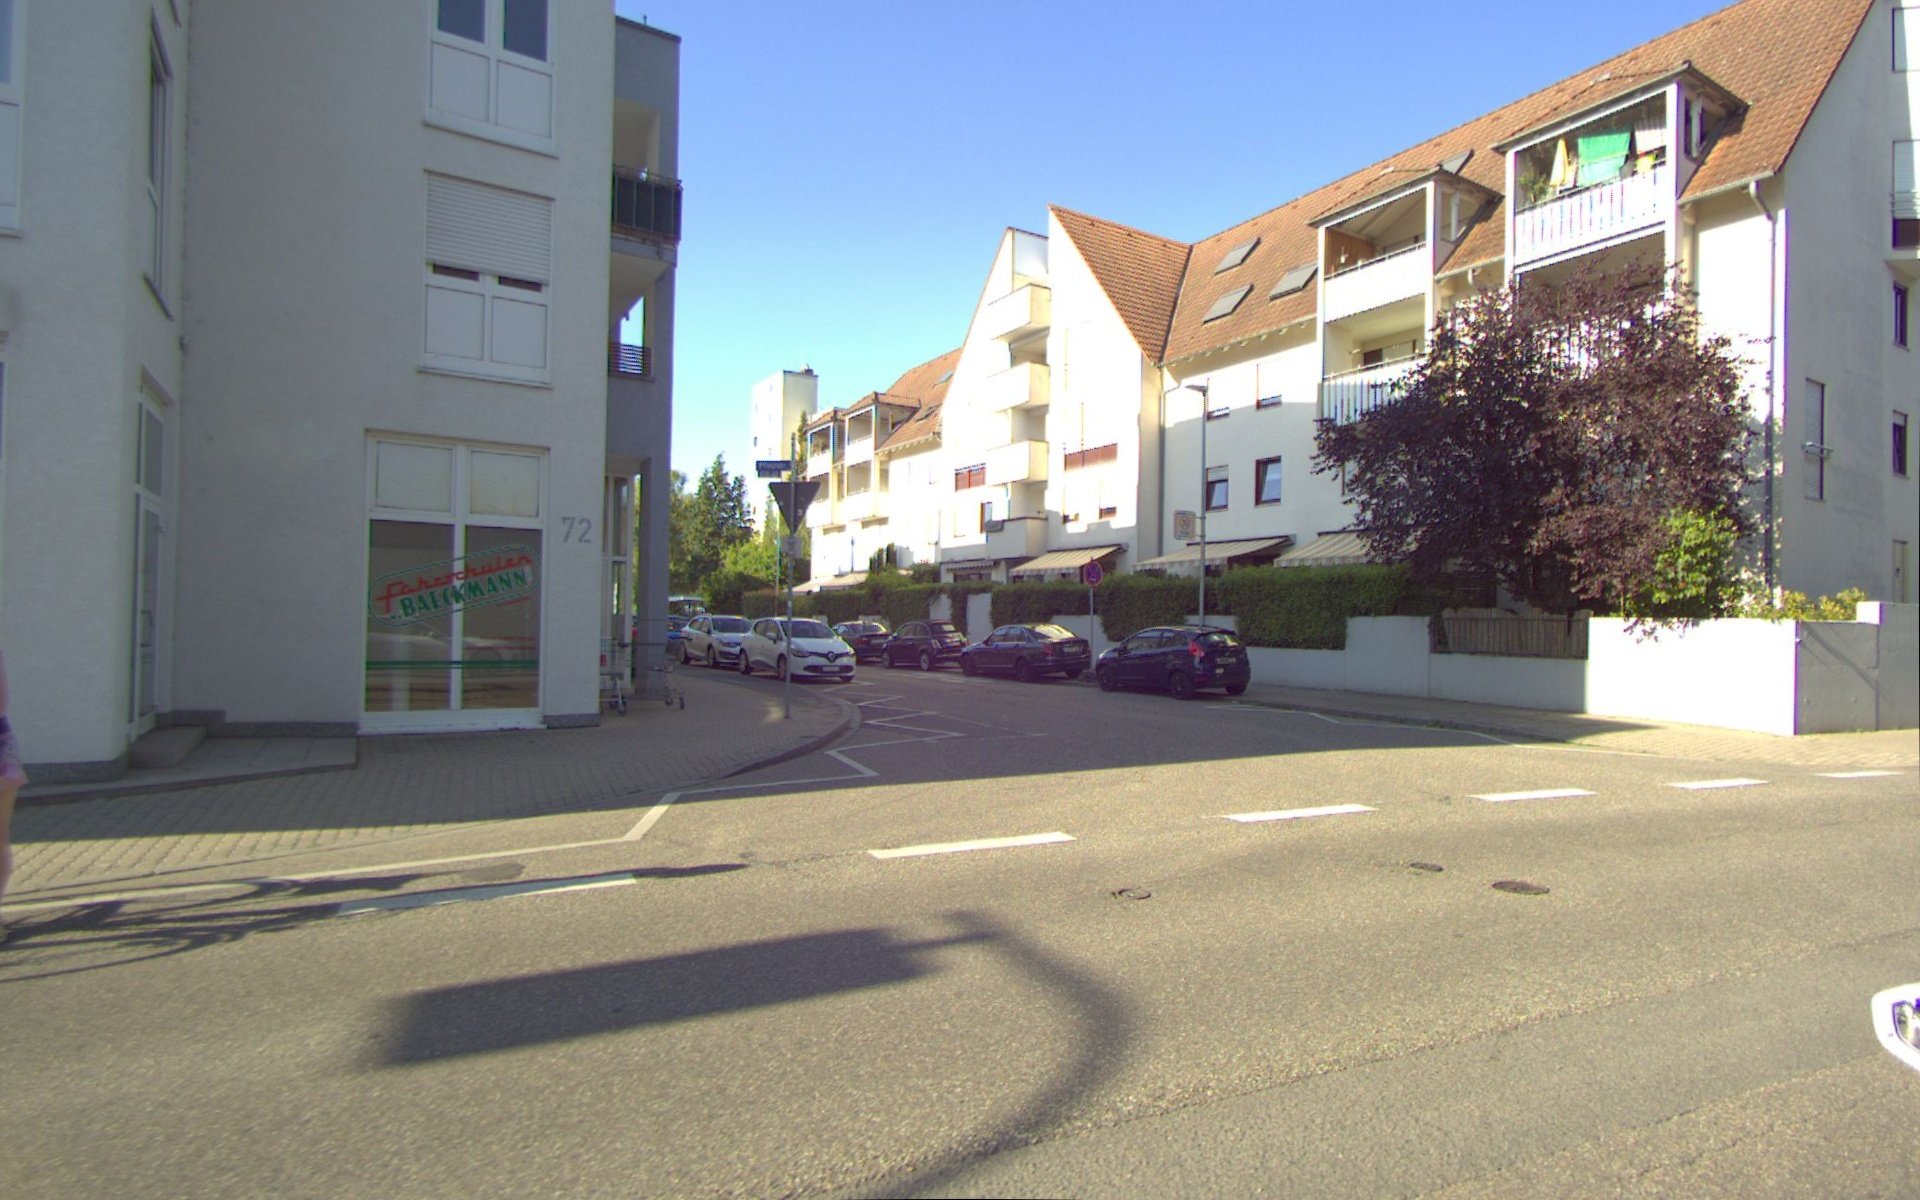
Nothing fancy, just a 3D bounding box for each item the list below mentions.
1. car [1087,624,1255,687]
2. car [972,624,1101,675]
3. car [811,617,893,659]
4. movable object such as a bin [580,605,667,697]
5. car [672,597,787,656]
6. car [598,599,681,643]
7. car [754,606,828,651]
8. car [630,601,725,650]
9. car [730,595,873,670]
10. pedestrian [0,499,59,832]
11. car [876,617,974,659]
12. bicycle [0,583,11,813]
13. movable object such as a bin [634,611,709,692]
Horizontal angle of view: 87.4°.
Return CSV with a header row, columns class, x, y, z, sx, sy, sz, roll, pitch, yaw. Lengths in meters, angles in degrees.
class,x,y,z,sx,sy,sz,roll,pitch,yaw
car,4.396,1.139,21.408,1.597,1.197,3.525,2,-2,-29
car,1.926,1.274,26.375,1.657,1.197,3.658,2,-2,-29
car,-3.817,1.313,35.083,1.557,1.373,3.578,2,-2,-29
movable object such as a bin,-4.675,0.691,13.916,0.882,1.180,1.212,2,0,-30
car,-6.611,0.736,28.526,1.979,1.528,3.964,2,-2,-32
car,-12.035,0.792,37.555,1.979,1.528,3.964,2,-2,-32
car,-6.937,1.153,40.920,1.655,1.720,3.968,2,-1,-30
car,-9.519,0.849,33.636,1.979,1.528,3.964,2,-2,-32
car,-3.834,0.729,23.842,1.887,1.527,3.906,5,-1,-32
pedestrian,-4.654,0.282,4.619,0.594,1.492,0.554,2,-1,-29
car,-1.157,1.156,31.446,1.585,1.197,3.658,2,-2,-29
bicycle,-4.887,0.500,4.305,0.591,1.200,1.781,2,-1,-24
movable object such as a bin,-4.361,0.761,15.160,0.875,1.180,0.850,2,-1,-30
